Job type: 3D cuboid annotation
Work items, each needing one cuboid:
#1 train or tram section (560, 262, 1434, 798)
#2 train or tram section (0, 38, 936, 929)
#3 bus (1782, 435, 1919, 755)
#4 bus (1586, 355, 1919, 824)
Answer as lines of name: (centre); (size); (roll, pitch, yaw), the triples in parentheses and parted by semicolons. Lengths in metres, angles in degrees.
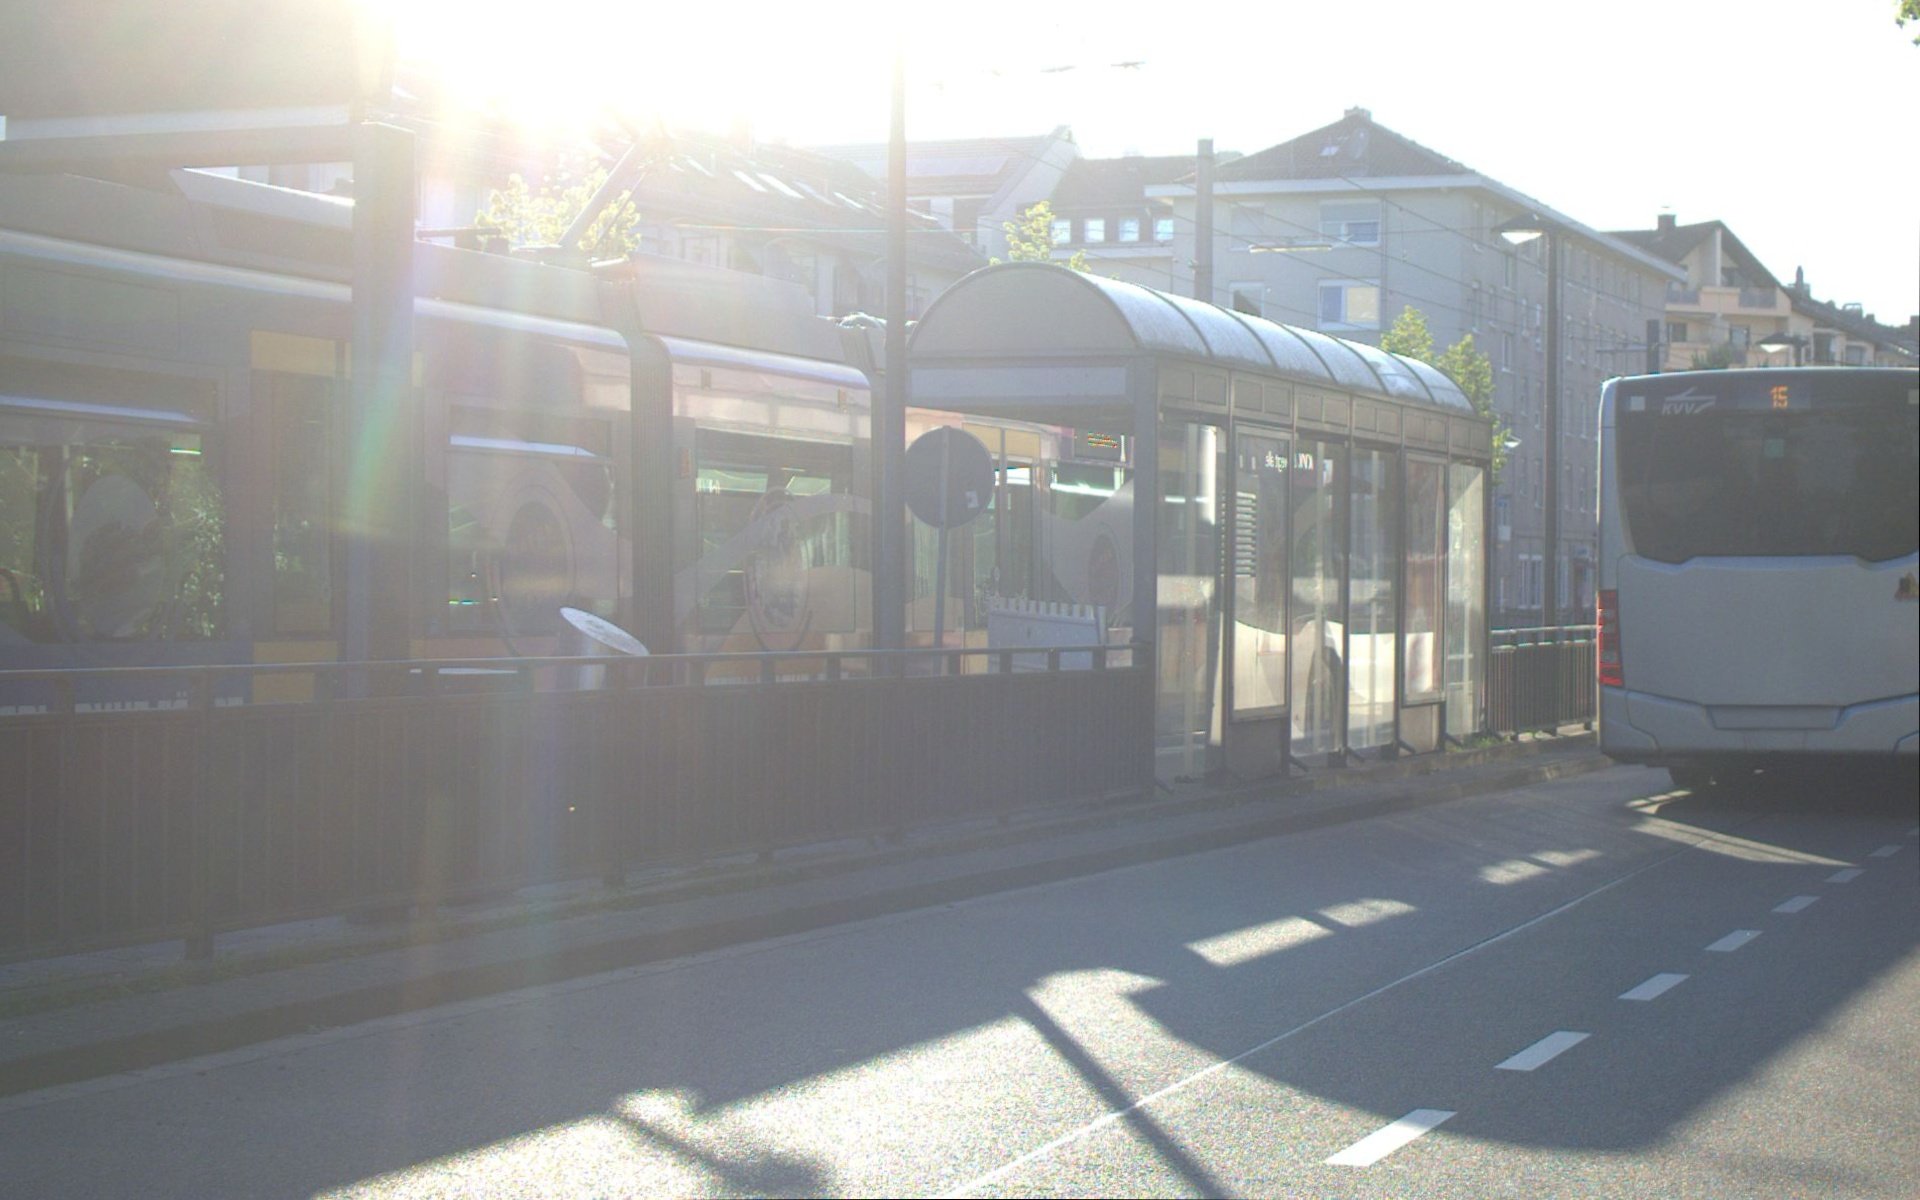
train or tram section: (1.034, -0.471, 29.150); (2.643, 3.507, 13.317); (1, 0, 22)
train or tram section: (-3.861, -0.474, 17.124); (2.732, 3.537, 12.769); (1, 0, 22)
bus: (10.995, -0.070, 37.371); (2.711, 3.096, 8.969); (1, 1, 22)
bus: (7.470, -0.106, 28.234); (2.736, 3.128, 10.692); (1, 1, 20)
